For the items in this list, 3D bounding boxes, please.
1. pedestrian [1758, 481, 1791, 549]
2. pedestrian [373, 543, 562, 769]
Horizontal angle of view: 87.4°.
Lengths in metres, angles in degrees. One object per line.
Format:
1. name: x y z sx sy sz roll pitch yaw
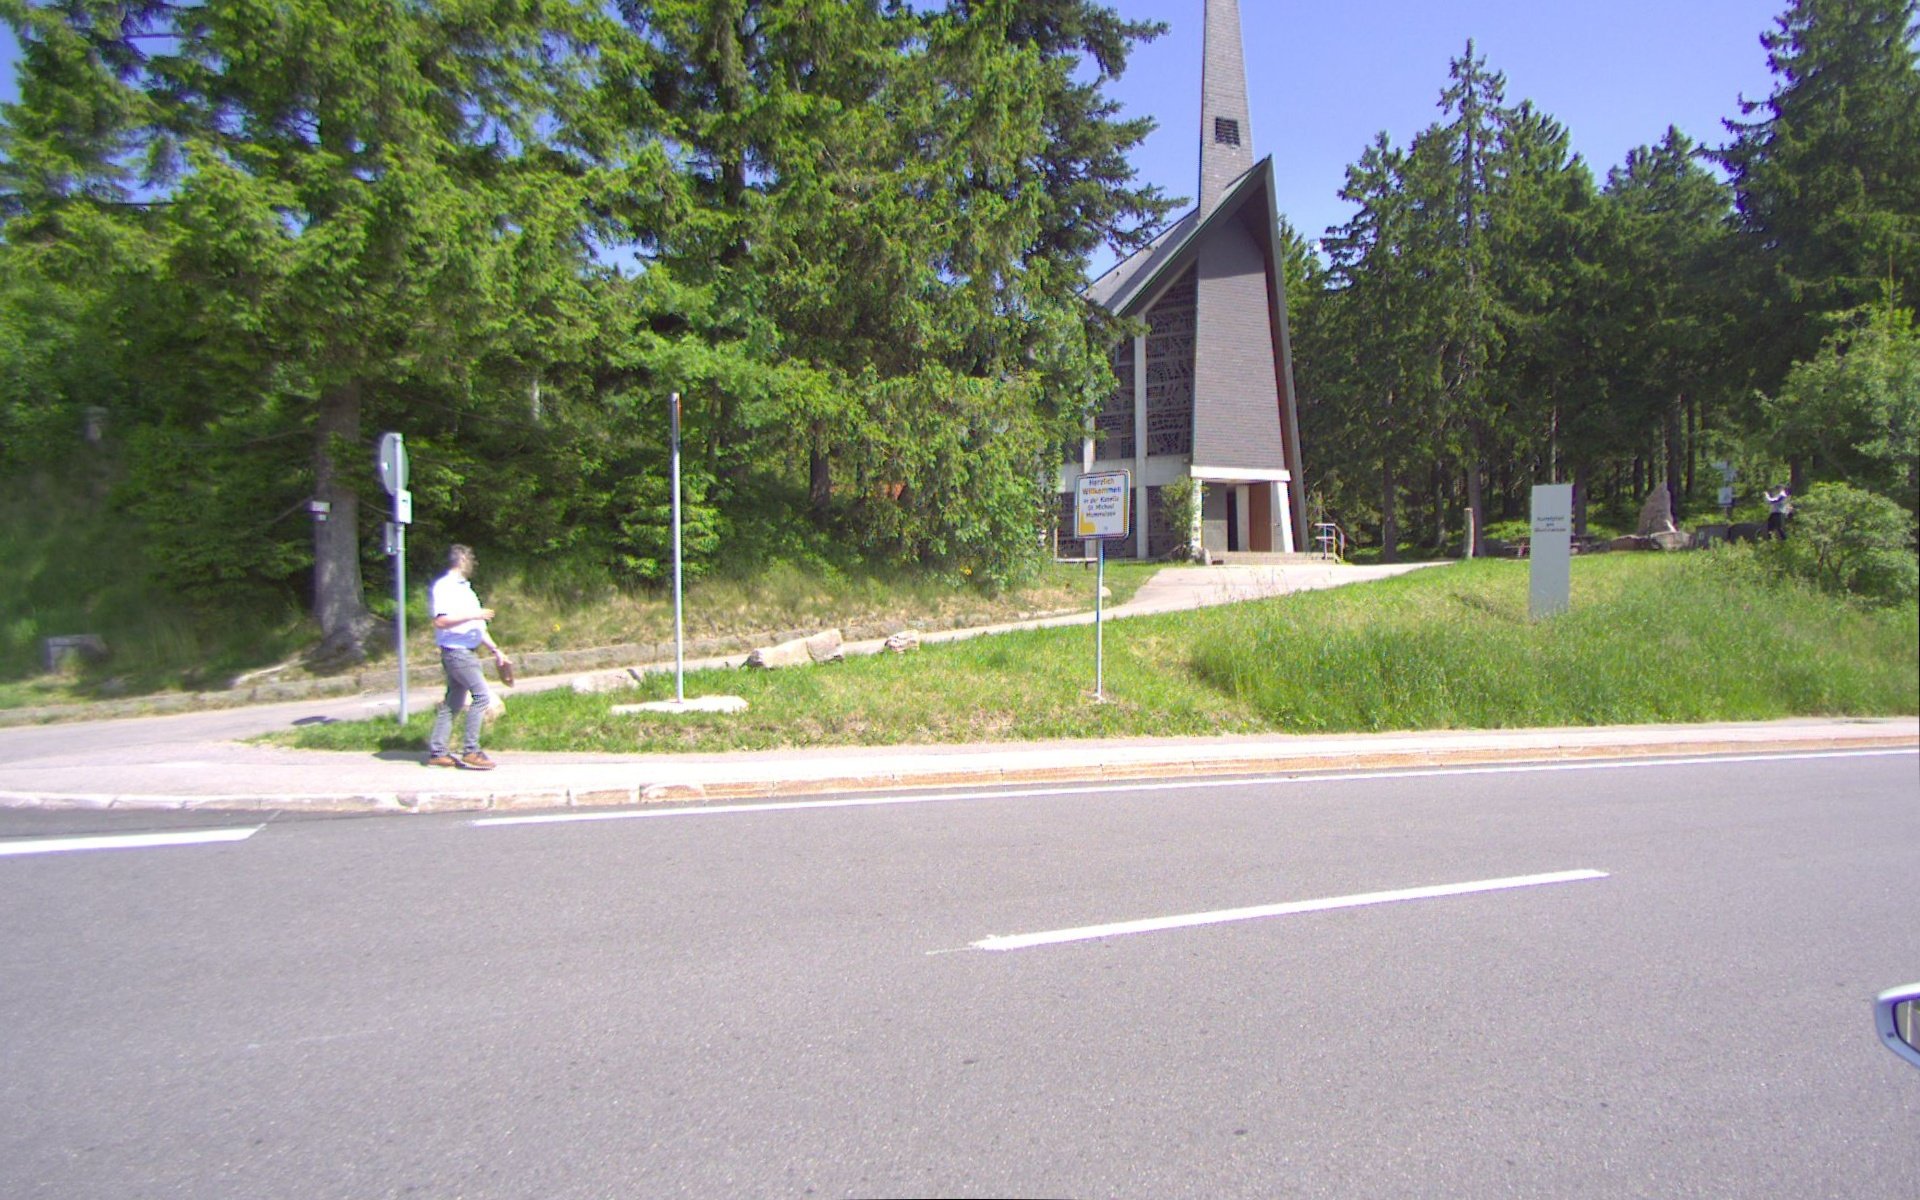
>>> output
1. pedestrian: 23.636 -2.458 29.146 0.671 1.903 0.540 0 -1 33
2. pedestrian: -3.977 0.440 8.228 1.142 1.721 0.977 1 -1 -11
